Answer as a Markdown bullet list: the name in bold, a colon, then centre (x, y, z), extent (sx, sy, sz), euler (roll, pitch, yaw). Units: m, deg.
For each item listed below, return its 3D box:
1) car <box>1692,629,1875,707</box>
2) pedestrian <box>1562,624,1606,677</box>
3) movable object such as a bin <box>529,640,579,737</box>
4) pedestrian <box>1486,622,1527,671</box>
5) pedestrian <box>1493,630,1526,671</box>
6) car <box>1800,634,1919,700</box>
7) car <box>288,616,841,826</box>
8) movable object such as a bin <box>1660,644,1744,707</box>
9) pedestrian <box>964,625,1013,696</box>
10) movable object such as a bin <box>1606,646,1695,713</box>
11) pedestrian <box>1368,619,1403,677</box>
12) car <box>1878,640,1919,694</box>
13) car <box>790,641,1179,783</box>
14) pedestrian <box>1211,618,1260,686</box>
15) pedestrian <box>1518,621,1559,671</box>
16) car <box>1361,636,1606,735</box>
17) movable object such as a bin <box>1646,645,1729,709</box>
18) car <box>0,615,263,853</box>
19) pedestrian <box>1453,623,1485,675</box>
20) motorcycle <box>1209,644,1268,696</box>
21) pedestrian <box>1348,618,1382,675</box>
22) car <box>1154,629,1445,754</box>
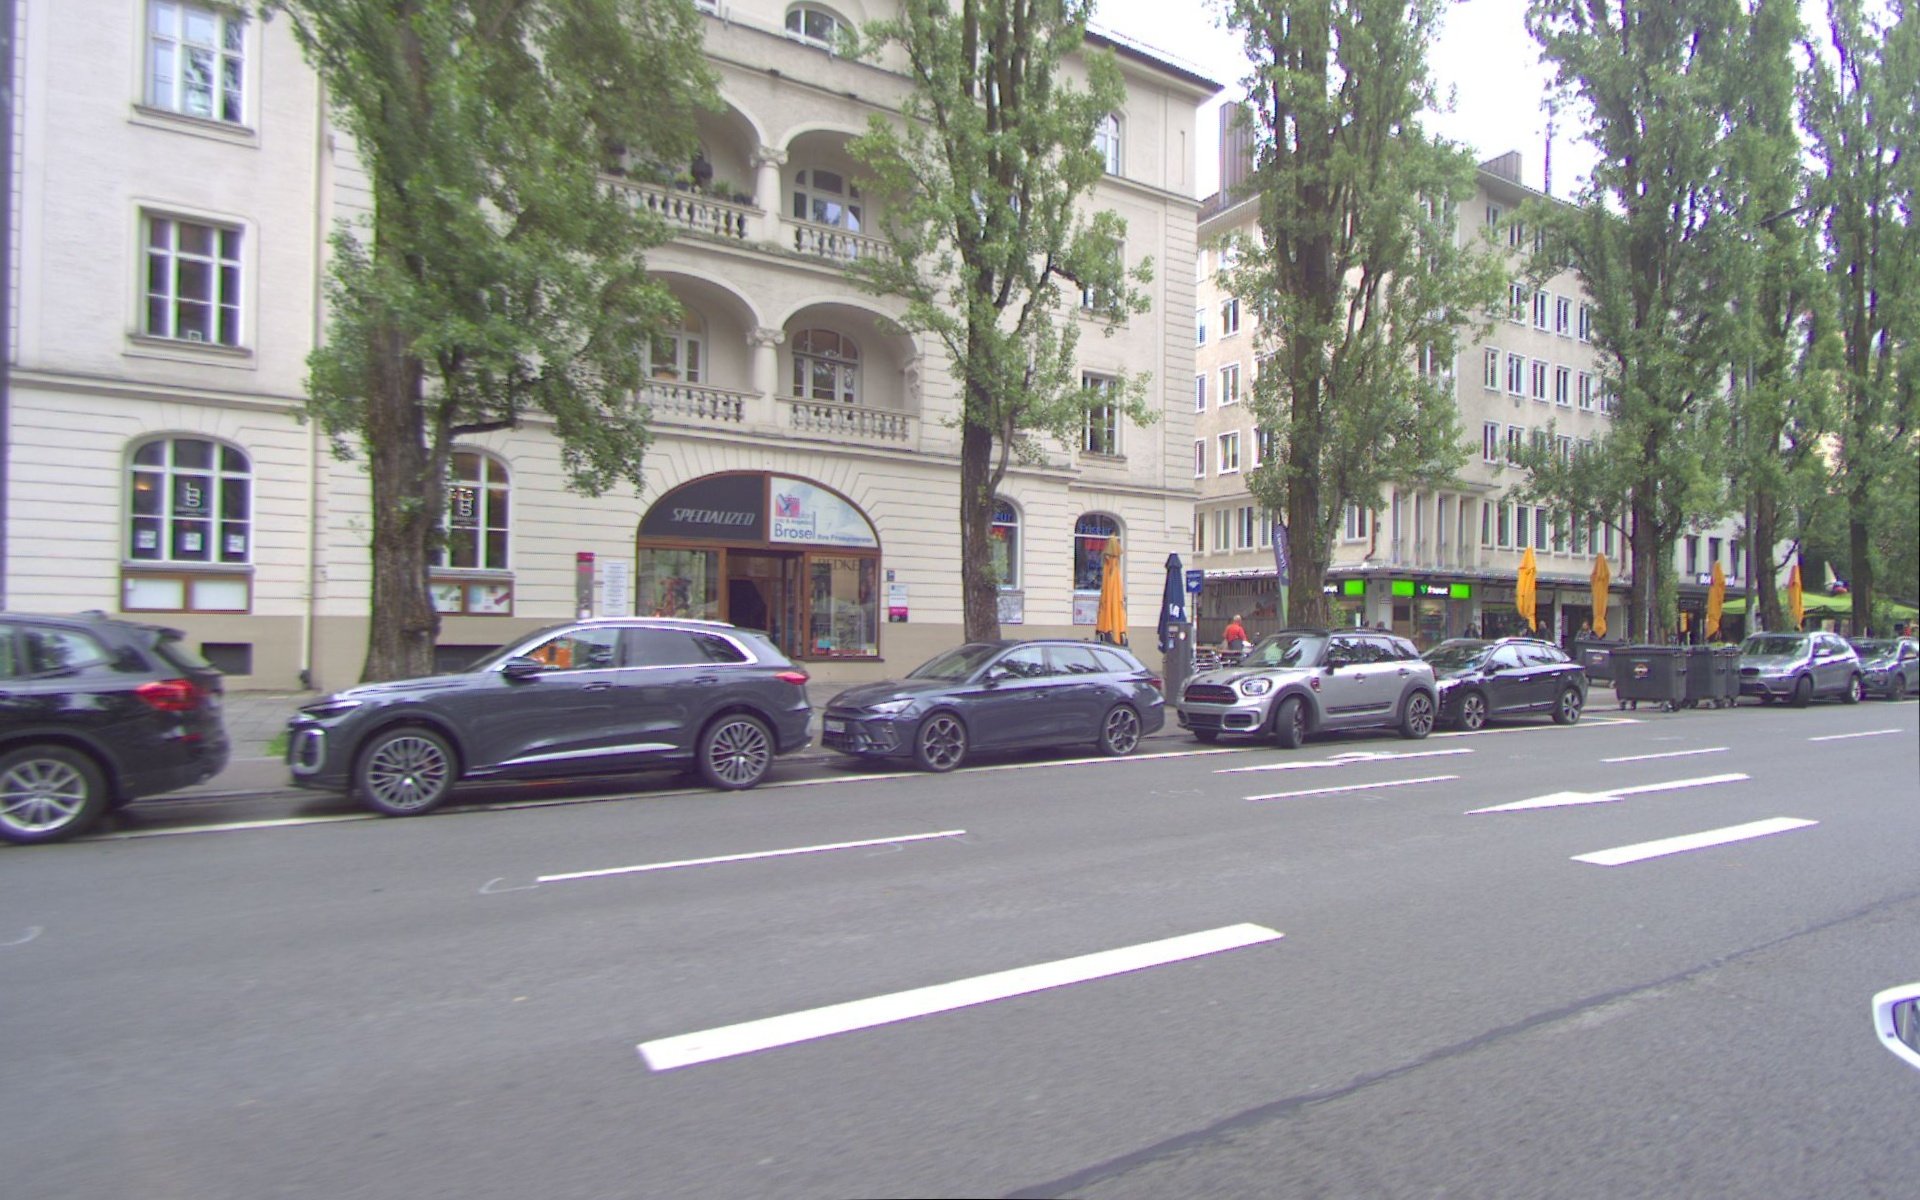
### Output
- **car**: centre (19.285, 1.555, 23.478), extent (4.563, 1.676, 1.856), euler (1, -4, -31)
- **pedestrian**: centre (21.296, 1.707, 34.302), extent (1.134, 1.767, 0.848), euler (1, -1, -29)
- **movable object such as a bin**: centre (-5.749, 1.232, 14.223), extent (0.579, 1.333, 0.602), euler (1, -1, -29)
- **pedestrian**: centre (20.199, 1.694, 37.118), extent (1.134, 1.768, 0.848), euler (1, -1, -29)
- **pedestrian**: centre (18.329, 1.666, 33.509), extent (0.817, 1.342, 0.622), euler (1, -2, -30)
- **car**: centre (23.450, 1.675, 25.792), extent (4.036, 1.571, 1.689), euler (1, -2, -31)
- **car**: centre (-3.611, 1.007, 9.679), extent (4.575, 1.615, 1.795), euler (1, -2, -29)
- **movable object such as a bin**: centre (16.606, 1.674, 22.490), extent (0.810, 1.334, 1.307), euler (1, -2, -31)
- **pedestrian**: centre (0.638, 1.353, 22.785), extent (0.795, 1.558, 0.765), euler (1, 0, -30)
- **movable object such as a bin**: centre (14.357, 1.625, 20.902), extent (0.891, 1.327, 1.271), euler (1, -2, -29)
- **pedestrian**: centre (13.048, 1.467, 30.822), extent (0.817, 1.744, 0.622), euler (1, -2, -31)
- **car**: centre (27.396, 1.860, 28.212), extent (2.949, 1.447, 1.623), euler (1, -2, -31)
- **car**: centre (0.403, 1.239, 12.249), extent (4.639, 1.442, 1.675), euler (2, -4, -34)
- **pedestrian**: centre (6.997, 1.313, 25.546), extent (0.941, 1.695, 0.731), euler (2, 0, -30)
- **pedestrian**: centre (21.060, 1.664, 36.568), extent (1.134, 1.767, 0.848), euler (1, -1, -29)
- **car**: centre (9.060, 1.404, 17.310), extent (4.260, 1.524, 1.657), euler (1, -4, -29)
- **movable object such as a bin**: centre (15.915, 1.660, 21.989), extent (0.816, 1.334, 1.253), euler (1, -2, -31)
- **car**: centre (-7.937, 0.925, 7.203), extent (4.661, 1.639, 1.811), euler (1, -2, -31)
- **pedestrian**: centre (17.185, 1.641, 33.883), extent (0.817, 1.744, 0.622), euler (1, -2, -30)
- **motorcycle**: centre (6.434, 1.590, 23.141), extent (1.802, 1.154, 0.471), euler (2, -2, -44)
- **pedestrian**: centre (12.624, 1.452, 31.341), extent (0.817, 1.744, 0.622), euler (1, -2, -31)
- **car**: centre (4.979, 1.240, 14.625), extent (4.084, 1.596, 1.774), euler (1, -3, -30)
